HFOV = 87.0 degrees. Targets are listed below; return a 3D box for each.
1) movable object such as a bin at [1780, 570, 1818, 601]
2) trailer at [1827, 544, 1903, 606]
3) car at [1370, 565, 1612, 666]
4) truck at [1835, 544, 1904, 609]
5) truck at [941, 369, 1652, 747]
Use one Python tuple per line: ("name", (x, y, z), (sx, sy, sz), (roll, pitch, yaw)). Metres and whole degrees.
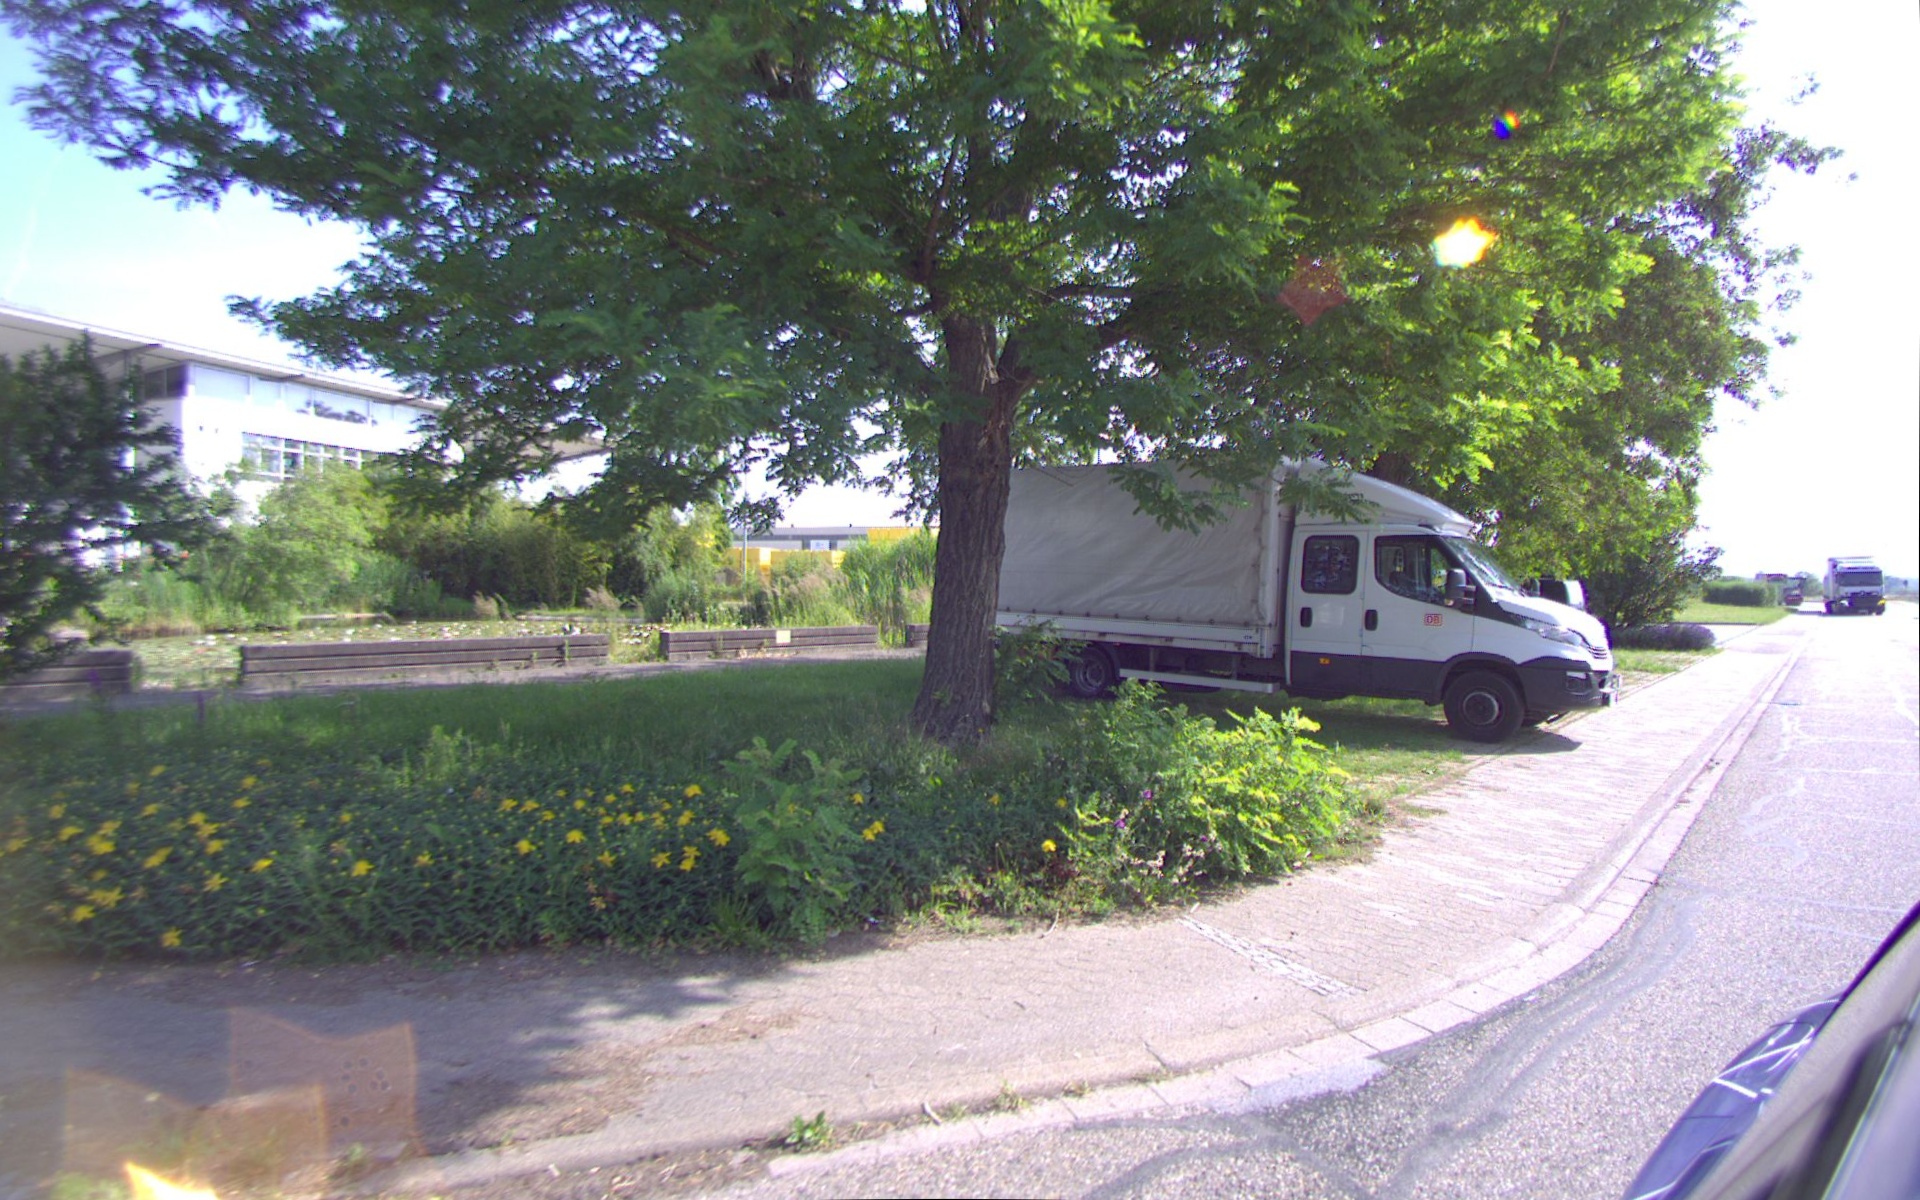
("movable object such as a bin", (86.763, -1.493, 104.742), (2.420, 3.049, 5.683), (2, 2, 34))
("trailer", (67.845, -1.876, 76.126), (3.482, 4.260, 14.034), (-2, 0, 39))
("car", (10.734, 0.230, 20.621), (3.987, 1.860, 1.969), (2, 1, 44))
("truck", (63.459, -1.634, 70.684), (3.384, 4.260, 6.008), (-2, 0, 42))
("truck", (3.668, -0.520, 12.884), (8.203, 3.411, 2.701), (2, 2, 42))
